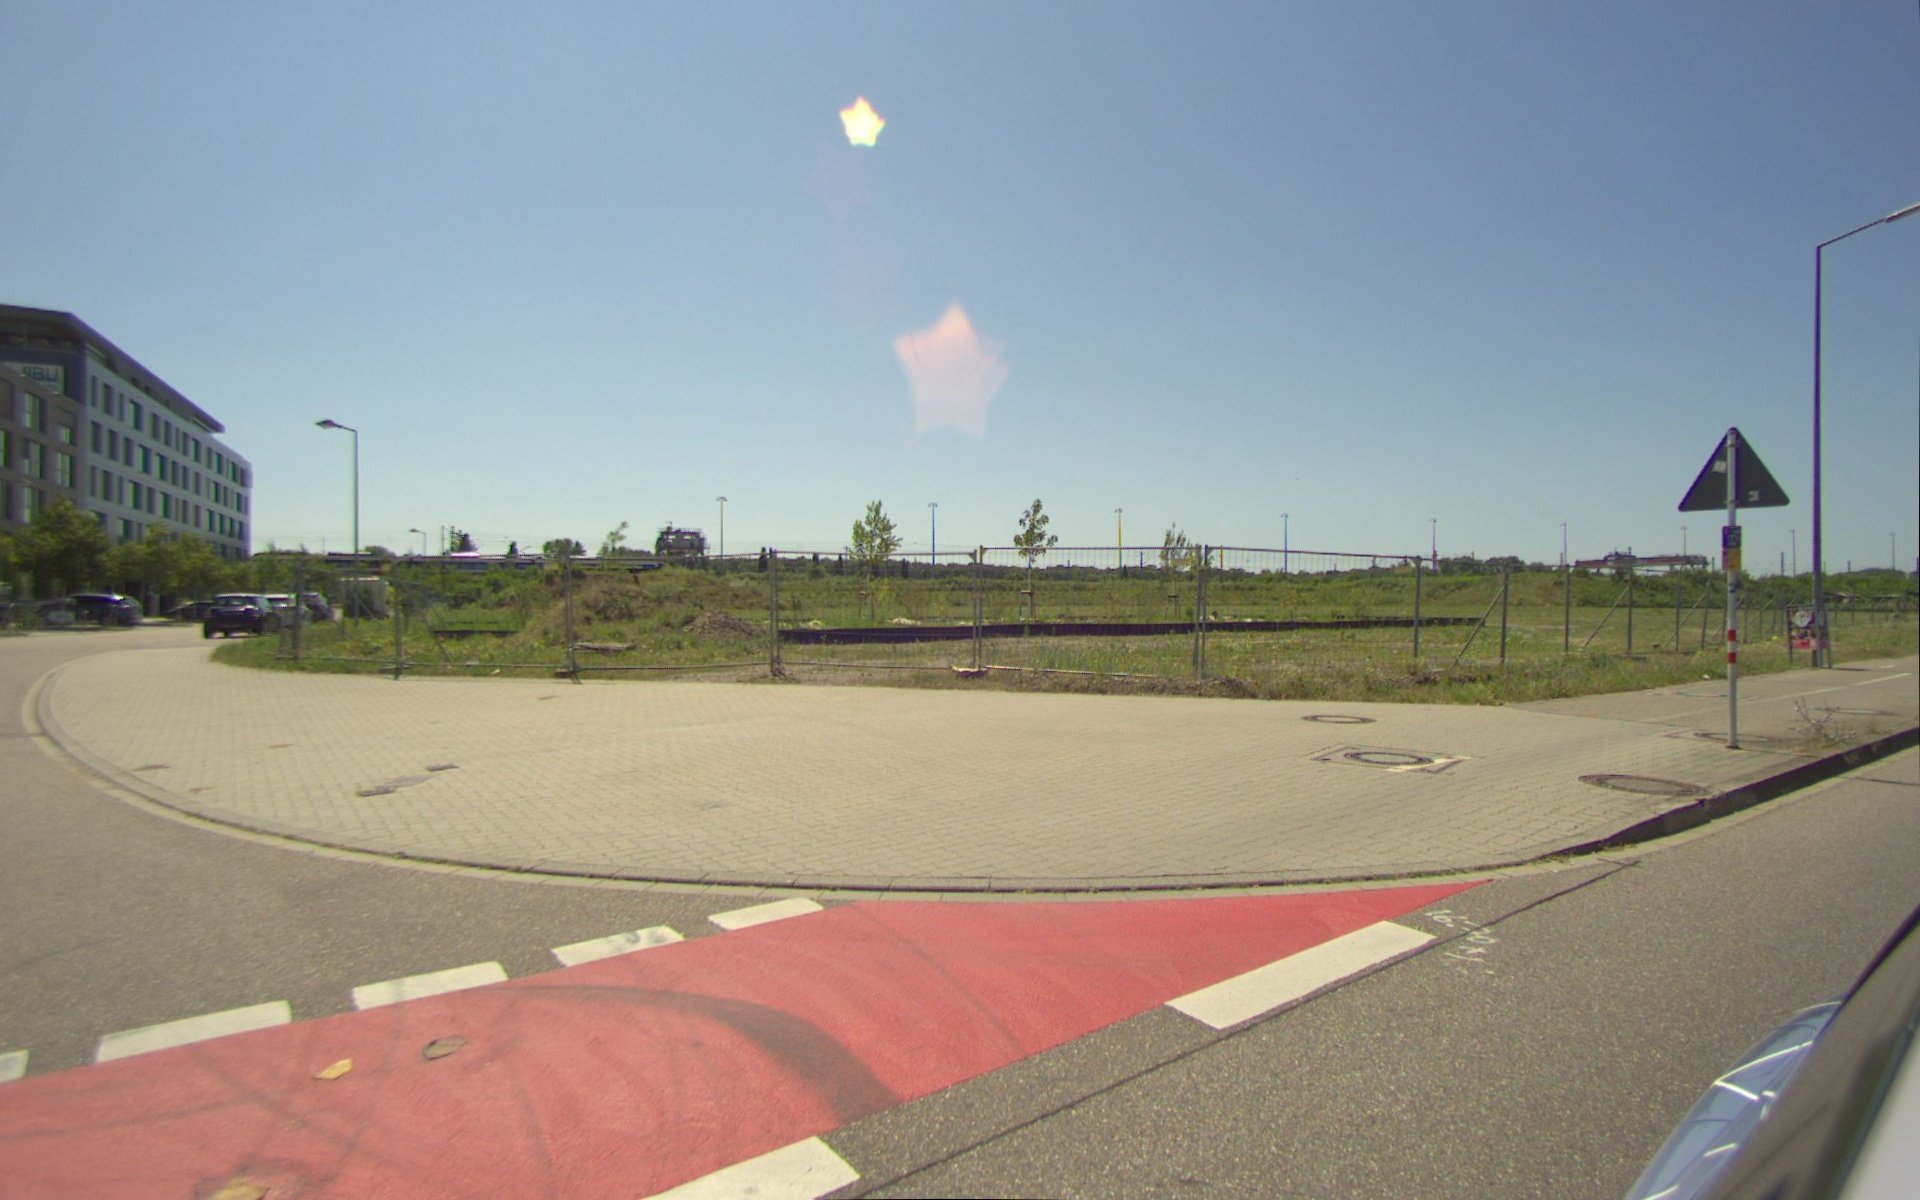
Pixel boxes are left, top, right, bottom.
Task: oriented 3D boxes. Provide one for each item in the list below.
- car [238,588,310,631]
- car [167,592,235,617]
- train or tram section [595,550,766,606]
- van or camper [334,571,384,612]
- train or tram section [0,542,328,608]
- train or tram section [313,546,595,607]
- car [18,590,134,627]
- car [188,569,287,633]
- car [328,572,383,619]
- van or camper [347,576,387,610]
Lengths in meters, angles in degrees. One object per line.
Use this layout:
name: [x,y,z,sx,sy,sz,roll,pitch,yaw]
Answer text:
car: [-26.380,0.342,39.019,1.713,1.577,4.051,0,0,-26]
car: [-53.399,0.339,71.284,3.583,1.721,1.620,0,0,-29]
train or tram section: [-53.194,-3.946,192.880,30.558,10.052,9.619,0,0,-20]
van or camper: [-42.541,-0.597,71.768,2.512,2.811,6.436,0,0,-26]
train or tram section: [-128.817,-3.785,163.814,43.844,10.052,9.619,0,0,-21]
train or tram section: [-88.165,-3.843,179.675,43.844,10.052,9.619,0,0,-21]
car: [-42.464,0.395,48.725,3.936,1.721,1.677,0,0,-29]
car: [-24.185,0.023,34.030,1.841,2.039,3.924,0,0,-22]
car: [-28.364,-0.182,47.567,1.842,2.039,3.921,-1,-1,-26]
van or camper: [-46.276,-0.510,79.048,2.355,2.567,5.444,0,0,-27]
